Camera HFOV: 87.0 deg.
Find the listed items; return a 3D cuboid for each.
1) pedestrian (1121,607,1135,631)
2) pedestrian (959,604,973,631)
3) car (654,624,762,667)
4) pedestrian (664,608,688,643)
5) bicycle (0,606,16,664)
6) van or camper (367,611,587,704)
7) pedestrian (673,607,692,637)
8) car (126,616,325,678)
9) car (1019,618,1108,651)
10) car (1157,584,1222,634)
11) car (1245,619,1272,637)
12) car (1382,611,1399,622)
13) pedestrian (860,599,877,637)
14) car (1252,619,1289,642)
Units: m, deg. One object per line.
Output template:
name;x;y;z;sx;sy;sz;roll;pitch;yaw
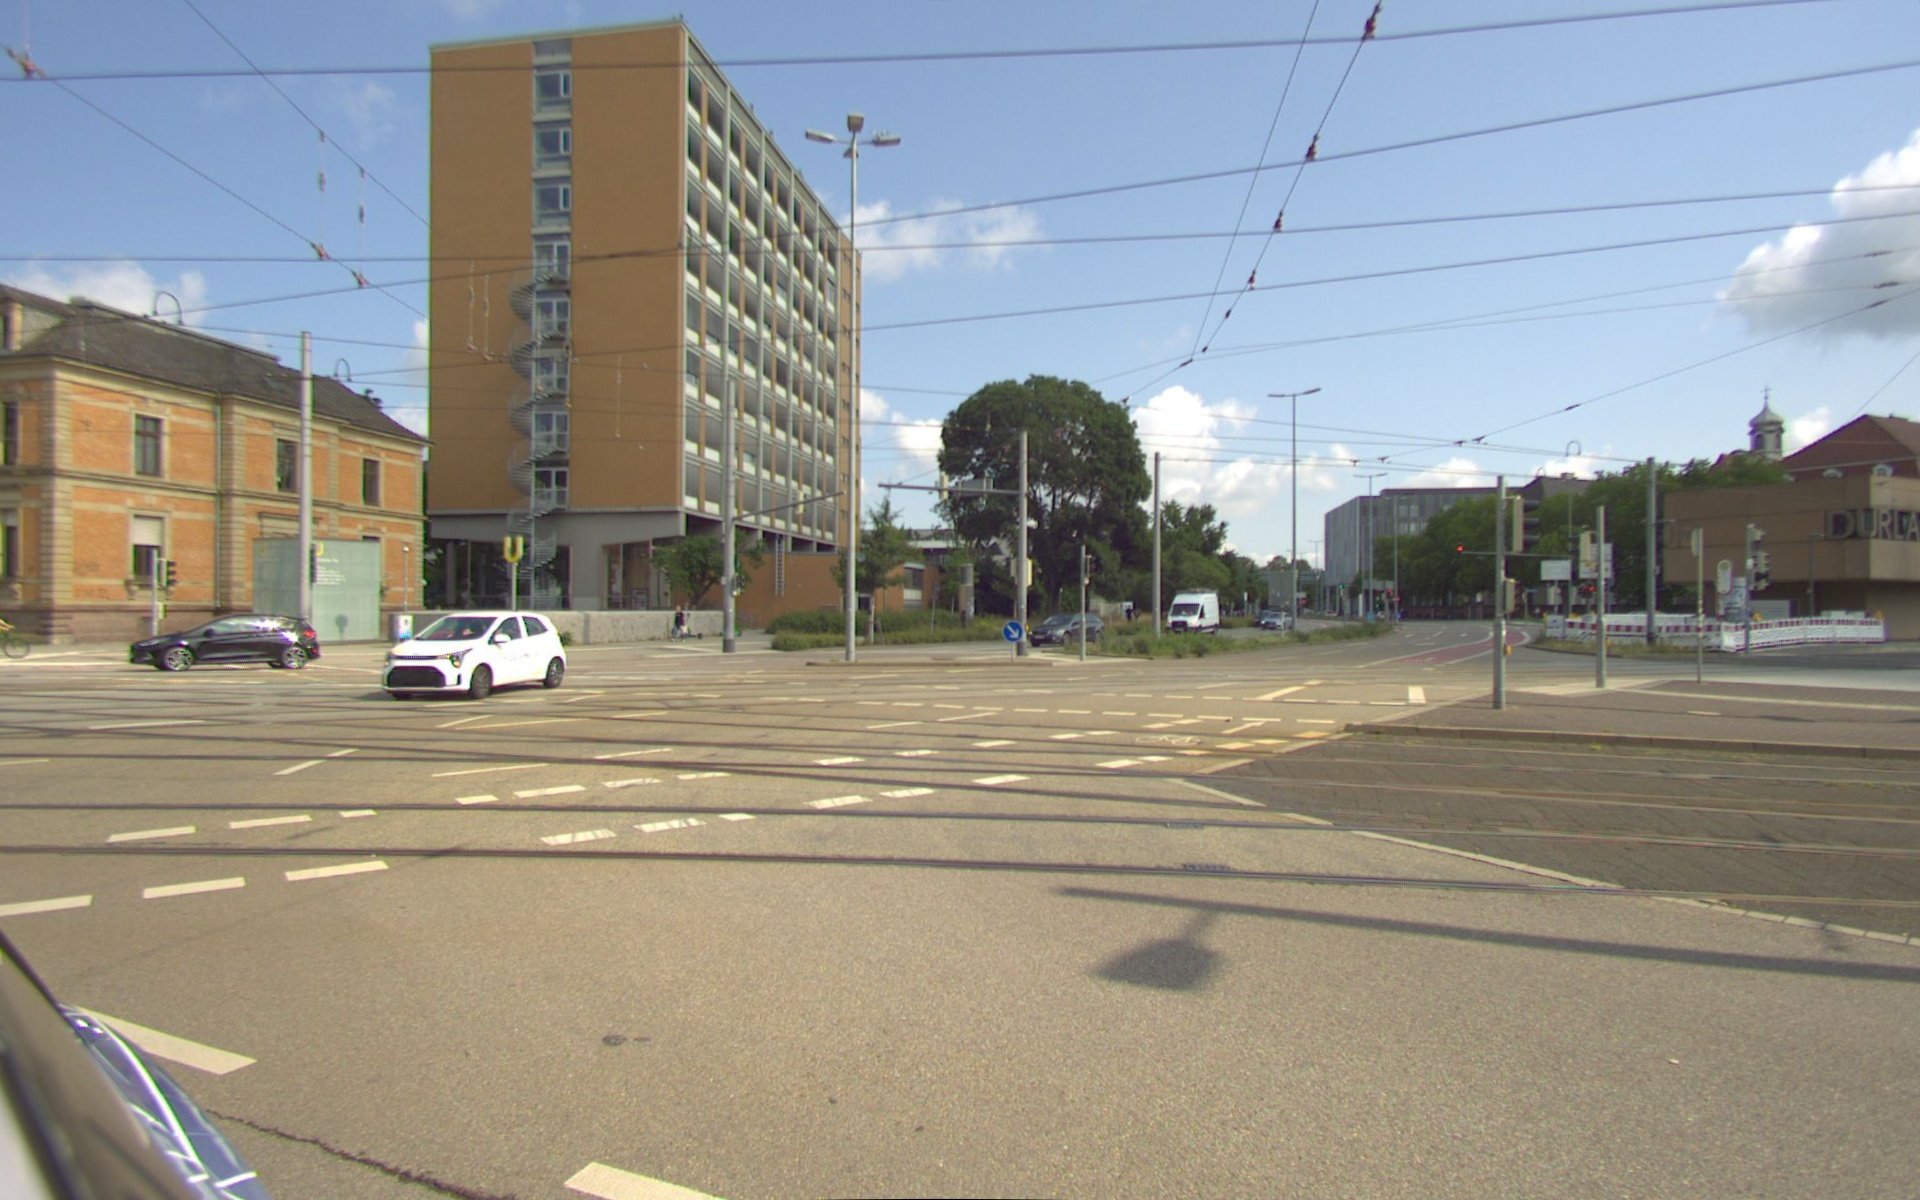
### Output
pedestrian;13.377;1.518;80.469;0.760;1.884;0.637;6;3;37
pedestrian;0.357;1.018;59.745;0.480;1.531;0.572;6;3;44
car;-8.014;1.414;32.283;1.609;1.223;2.970;0;0;40
pedestrian;-13.171;1.180;46.938;0.768;1.600;0.758;-2;-2;25
bicycle;-30.082;1.070;31.024;1.611;1.791;0.733;1;-1;-40
van or camper;-8.572;0.986;18.382;1.610;1.487;3.987;-1;-2;10
pedestrian;-14.846;1.185;54.081;0.922;1.600;0.767;0;-1;-20
car;-18.897;1.158;26.142;3.940;1.465;1.715;1;-1;-44
car;4.636;1.491;44.783;1.996;1.290;4.490;2;1;35
car;13.981;0.553;61.269;2.474;2.901;6.093;0;-1;27
car;28.898;2.649;97.836;1.861;1.604;3.632;2;0;27
car;64.619;2.504;151.864;1.984;1.580;4.752;0;-1;19
pedestrian;-5.154;1.010;56.826;0.795;2.028;0.726;3;3;-10
car;25.901;2.525;84.377;1.993;1.785;4.096;2;0;31
